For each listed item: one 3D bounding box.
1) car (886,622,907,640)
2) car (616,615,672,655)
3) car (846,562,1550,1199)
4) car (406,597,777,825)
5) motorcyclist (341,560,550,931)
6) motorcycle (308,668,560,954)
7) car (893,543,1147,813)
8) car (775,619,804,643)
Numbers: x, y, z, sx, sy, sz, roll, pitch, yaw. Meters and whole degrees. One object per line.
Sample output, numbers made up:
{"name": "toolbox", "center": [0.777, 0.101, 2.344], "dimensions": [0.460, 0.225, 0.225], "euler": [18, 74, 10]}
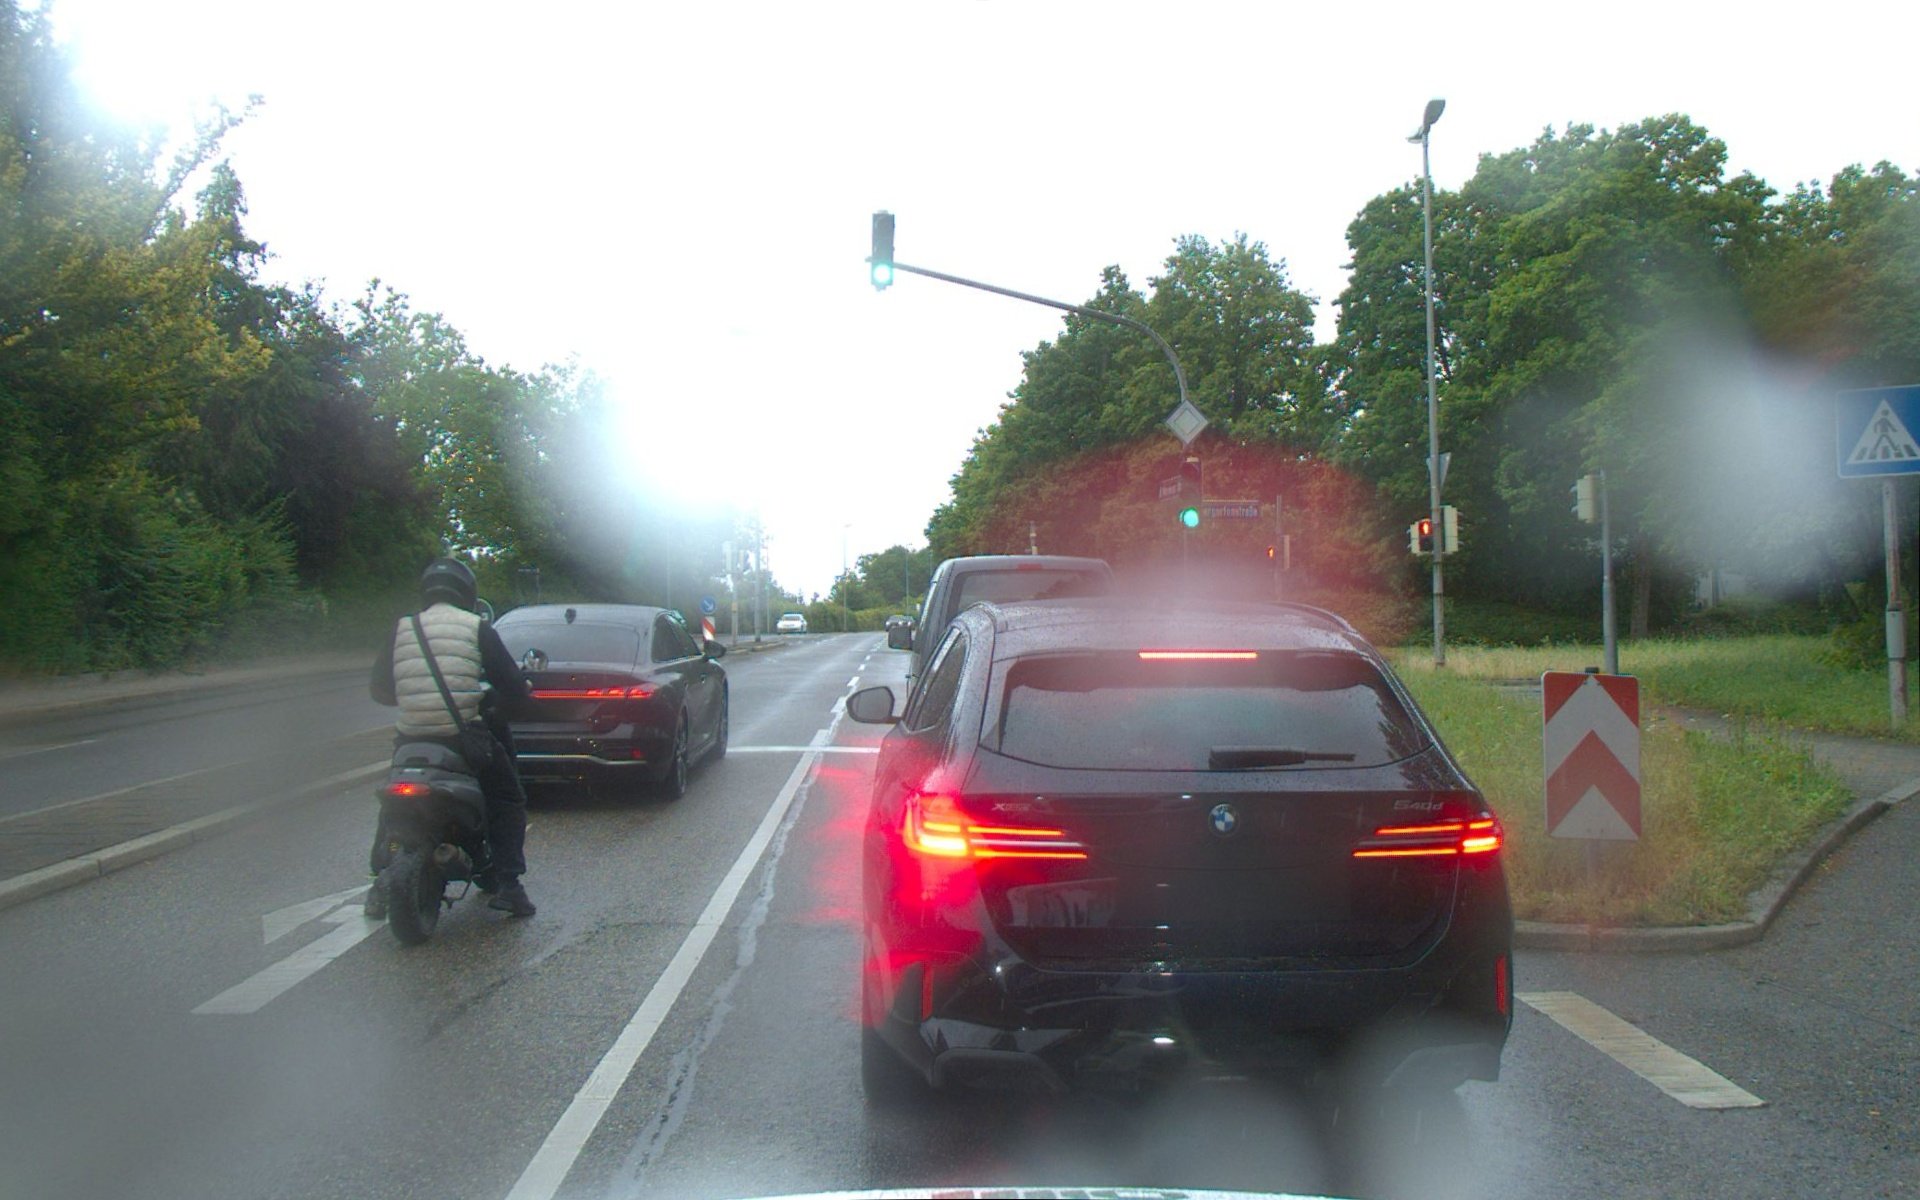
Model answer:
{"name": "car", "center": [-6.084, 2.947, 158.683], "dimensions": [1.984, 1.590, 3.875], "euler": [-2, 0, -2]}
{"name": "car", "center": [-13.077, 1.411, 68.604], "dimensions": [1.826, 1.518, 3.830], "euler": [-1, 0, -4]}
{"name": "car", "center": [0.566, 0.711, 5.902], "dimensions": [1.728, 1.563, 3.672], "euler": [0, 0, -1]}
{"name": "car", "center": [-2.651, 0.727, 13.055], "dimensions": [1.974, 1.440, 4.485], "euler": [0, 1, -1]}
{"name": "motorcyclist", "center": [-2.387, 0.658, 7.724], "dimensions": [0.828, 1.676, 0.468], "euler": [0, 0, -1]}
{"name": "motorcycle", "center": [-2.404, 0.924, 7.729], "dimensions": [0.726, 1.139, 1.426], "euler": [1, 0, -1]}
{"name": "car", "center": [0.386, 0.519, 13.324], "dimensions": [1.731, 1.841, 3.904], "euler": [0, 0, -1]}
{"name": "car", "center": [-12.204, 2.213, 118.523], "dimensions": [1.693, 1.511, 4.155], "euler": [-2, 0, -2]}
